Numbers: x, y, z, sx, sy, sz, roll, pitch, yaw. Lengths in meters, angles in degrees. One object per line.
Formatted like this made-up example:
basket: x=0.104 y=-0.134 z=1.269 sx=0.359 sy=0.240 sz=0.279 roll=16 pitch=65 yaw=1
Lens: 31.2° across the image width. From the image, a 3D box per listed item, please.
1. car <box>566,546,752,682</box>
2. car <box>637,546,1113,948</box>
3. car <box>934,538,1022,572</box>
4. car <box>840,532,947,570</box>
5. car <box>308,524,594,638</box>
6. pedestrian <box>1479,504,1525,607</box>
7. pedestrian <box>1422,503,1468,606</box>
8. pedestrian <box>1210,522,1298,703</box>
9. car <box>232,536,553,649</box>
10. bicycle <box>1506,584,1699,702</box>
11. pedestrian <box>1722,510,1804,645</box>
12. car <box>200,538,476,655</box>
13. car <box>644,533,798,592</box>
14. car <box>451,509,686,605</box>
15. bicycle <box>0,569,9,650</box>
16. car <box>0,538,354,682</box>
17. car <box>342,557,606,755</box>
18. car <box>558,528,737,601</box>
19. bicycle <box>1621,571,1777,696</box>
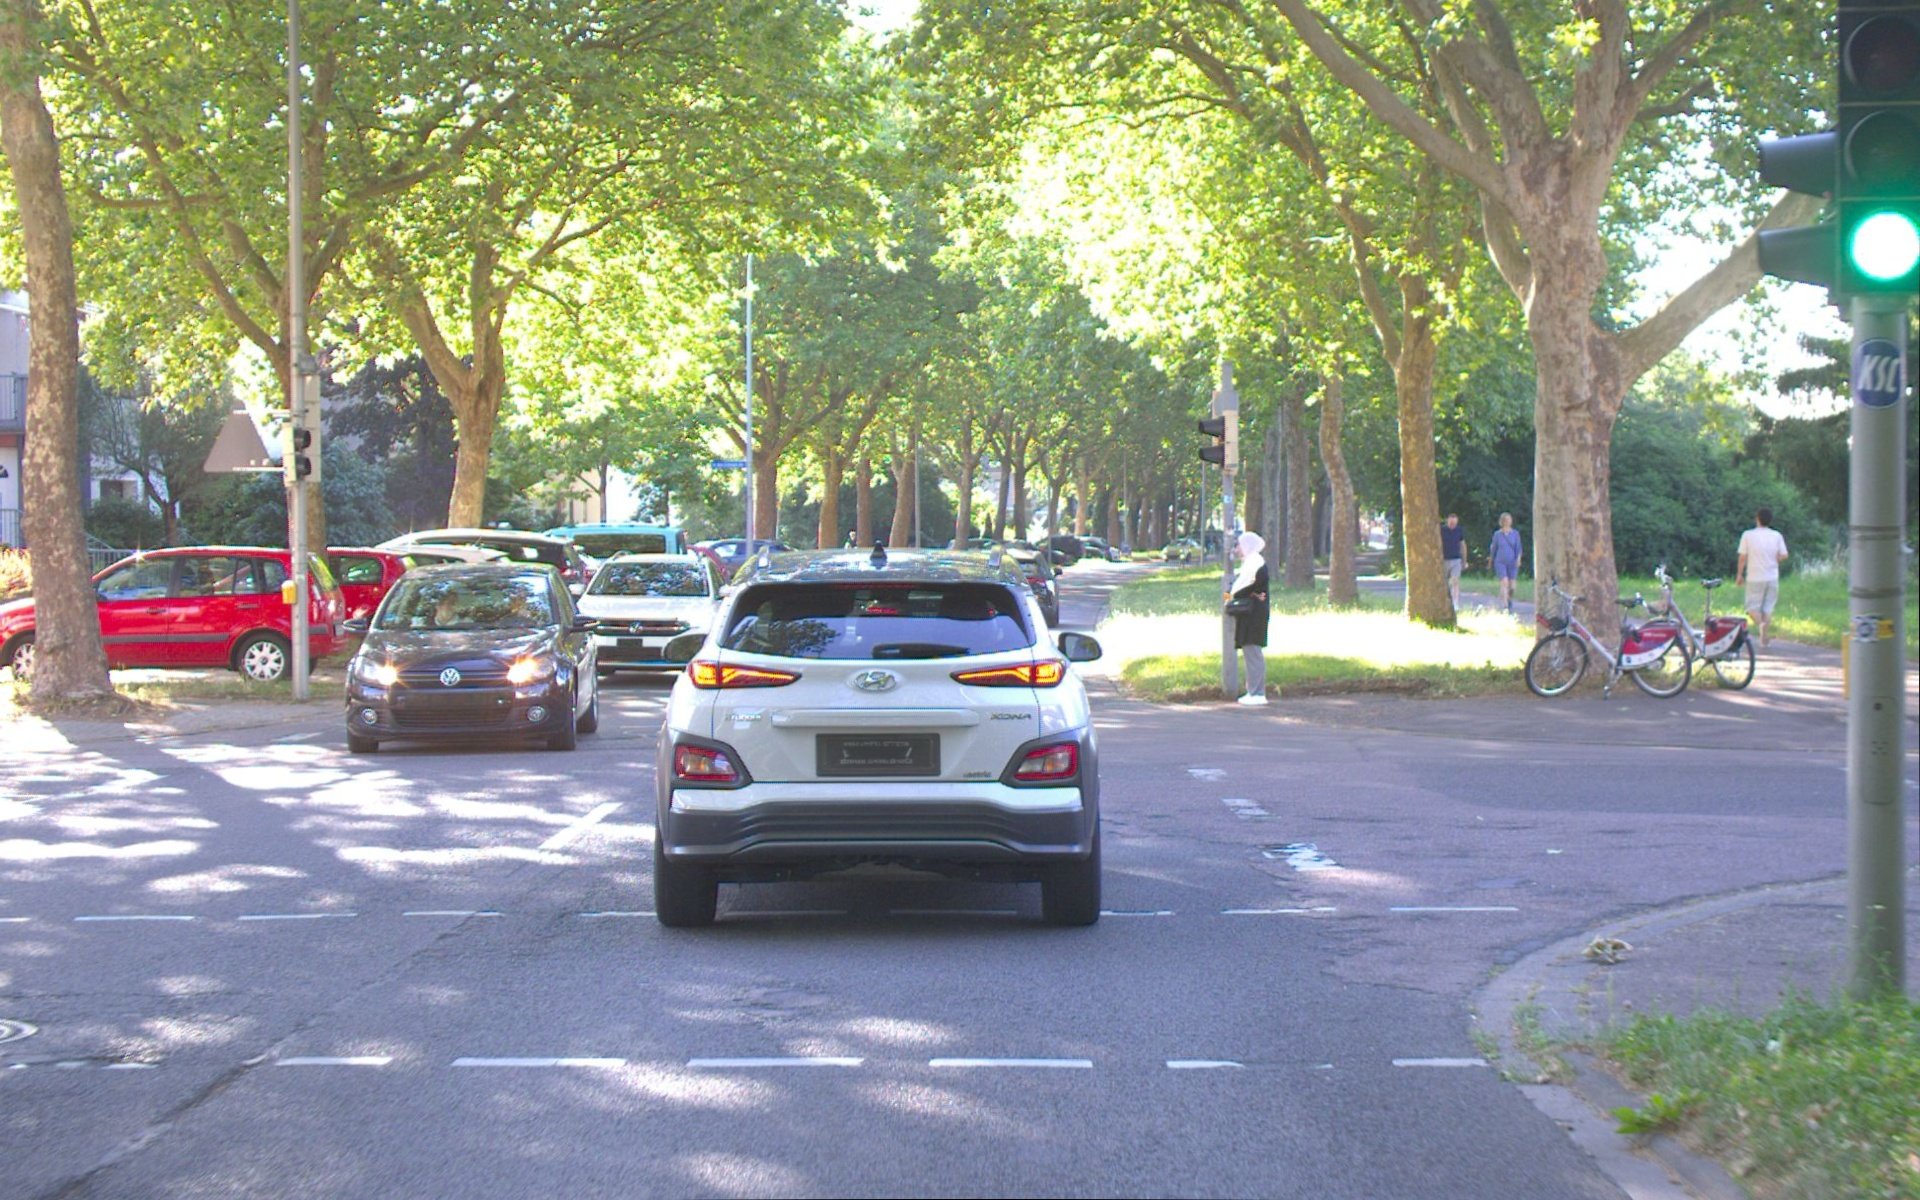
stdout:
car: x=-3.476 y=0.123 z=40.317 sx=1.716 sy=1.496 sz=4.094 roll=0 pitch=1 yaw=1
car: x=-0.371 y=0.547 z=15.295 sx=1.835 sy=1.550 sz=4.000 roll=0 pitch=1 yaw=-1
car: x=0.870 y=-2.186 z=167.052 sx=4.183 sy=1.579 sz=2.000 roll=1 pitch=1 yaw=3
car: x=-2.505 y=-1.838 z=129.635 sx=3.826 sy=1.311 sz=1.790 roll=2 pitch=1 yaw=5
car: x=-7.794 y=-0.303 z=52.881 sx=4.091 sy=1.710 sz=1.831 roll=0 pitch=1 yaw=1
pedestrian: x=9.809 y=-0.810 z=62.252 sx=0.754 sy=1.841 sz=0.802 roll=0 pitch=1 yaw=5
pedestrian: x=8.789 y=-0.828 z=62.307 sx=0.761 sy=1.839 sz=0.787 roll=0 pitch=1 yaw=5
pedestrian: x=2.855 y=0.112 z=33.455 sx=0.634 sy=1.713 sz=0.826 roll=-3 pitch=1 yaw=-7
car: x=-7.872 y=-0.121 z=47.957 sx=4.161 sy=1.496 sz=1.876 roll=1 pitch=1 yaw=-1
bicycle: x=5.951 y=0.387 z=31.880 sx=1.718 sy=1.031 sz=0.445 roll=1 pitch=4 yaw=36
pedestrian: x=9.946 y=-0.280 z=42.606 sx=0.779 sy=1.644 sz=0.939 roll=-1 pitch=1 yaw=1
car: x=-8.219 y=-0.062 z=45.602 sx=3.339 sy=1.475 sz=1.695 roll=1 pitch=1 yaw=0
car: x=-6.345 y=-1.010 z=91.593 sx=3.988 sy=1.513 sz=1.817 roll=1 pitch=1 yaw=0
car: x=-7.688 y=-0.849 z=67.750 sx=4.385 sy=1.818 sz=1.996 roll=1 pitch=1 yaw=0
bicycle: x=-12.493 y=0.131 z=43.497 sx=0.509 sy=1.038 sz=2.153 roll=-1 pitch=0 yaw=-5
car: x=-8.742 y=0.092 z=38.048 sx=3.764 sy=1.529 sz=1.832 roll=0 pitch=1 yaw=-1
car: x=-3.850 y=0.391 z=27.790 sx=1.726 sy=1.459 sz=4.069 roll=-1 pitch=1 yaw=-3
car: x=-7.056 y=-0.813 z=77.914 sx=3.871 sy=1.513 sz=1.665 roll=2 pitch=1 yaw=0
bicycle: x=7.027 y=0.299 z=32.767 sx=0.445 sy=1.079 sz=2.009 roll=-3 pitch=3 yaw=-19
